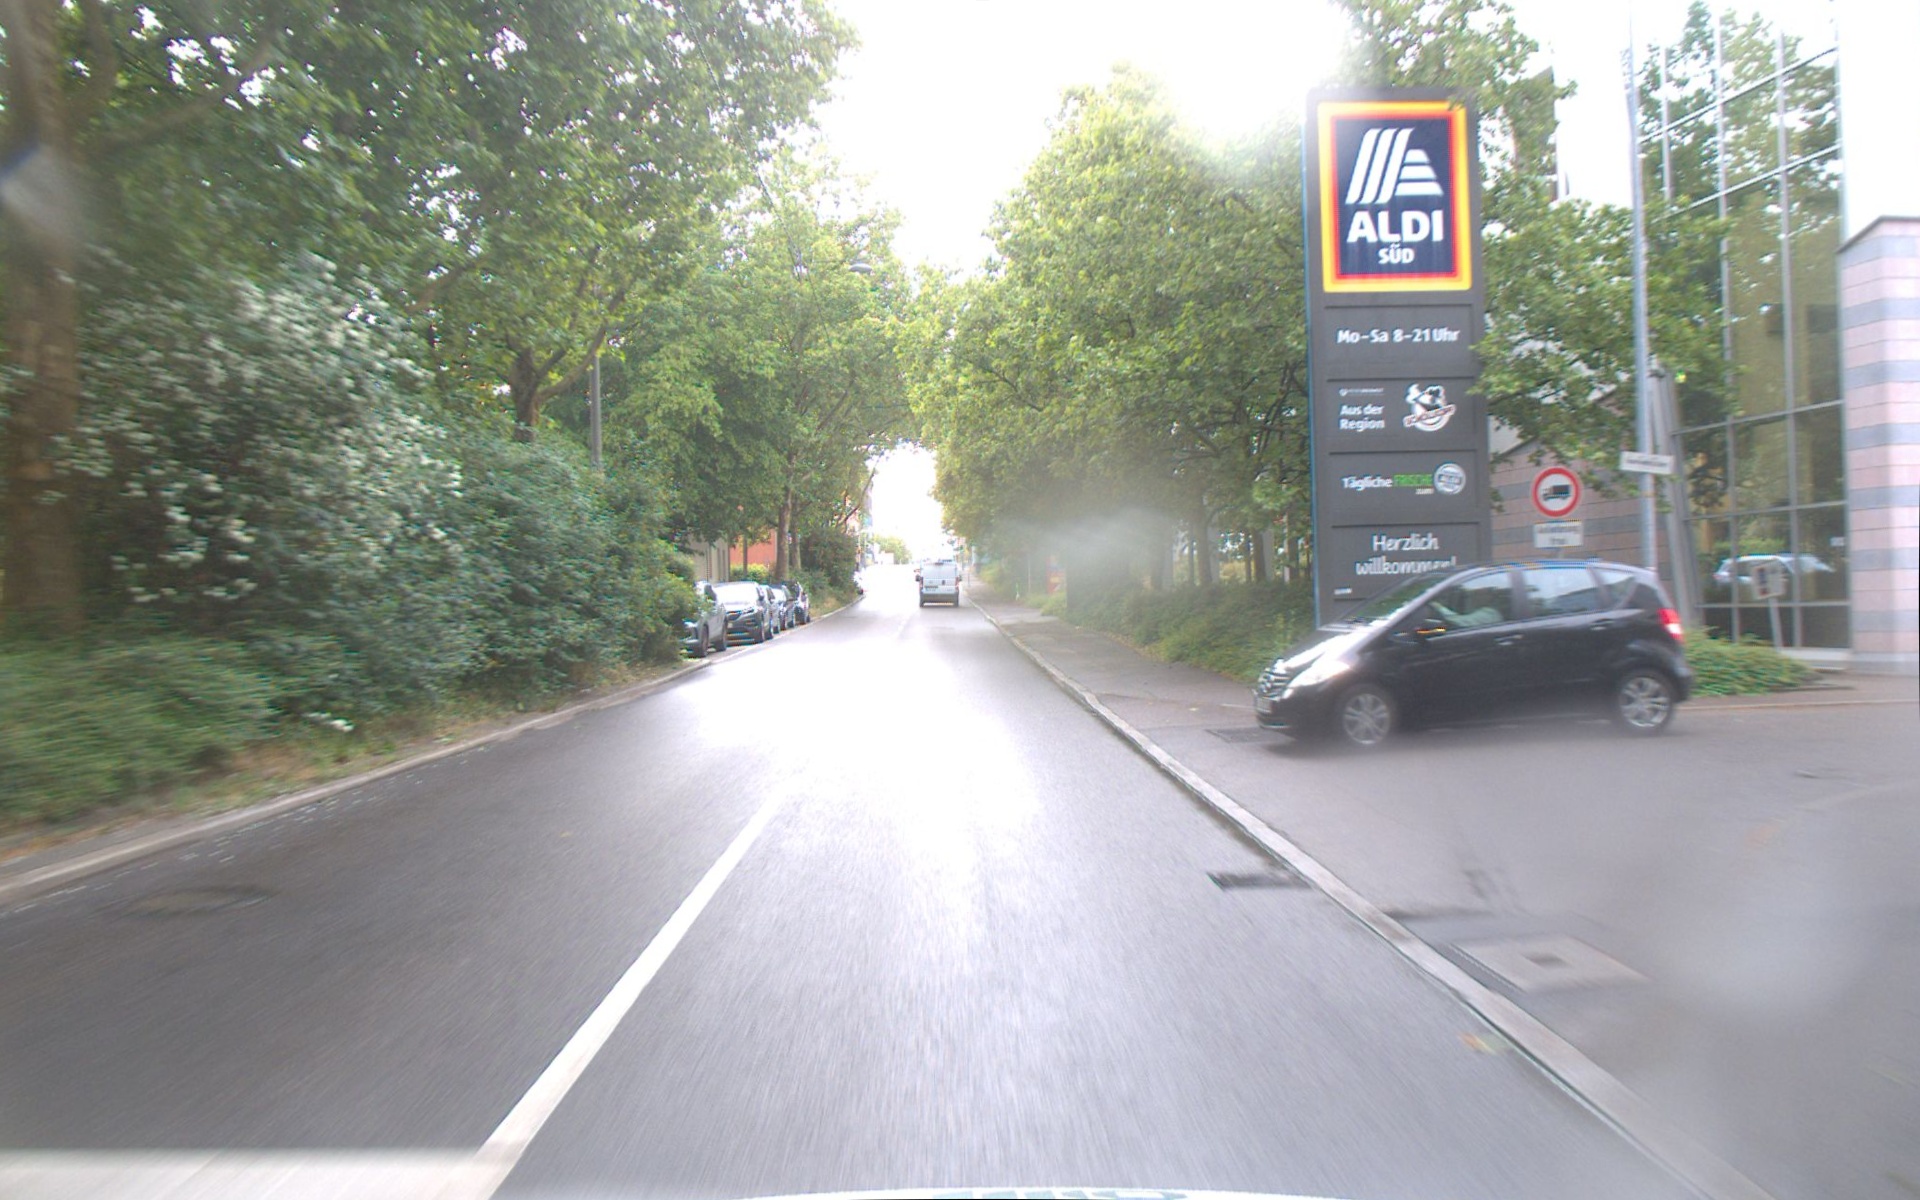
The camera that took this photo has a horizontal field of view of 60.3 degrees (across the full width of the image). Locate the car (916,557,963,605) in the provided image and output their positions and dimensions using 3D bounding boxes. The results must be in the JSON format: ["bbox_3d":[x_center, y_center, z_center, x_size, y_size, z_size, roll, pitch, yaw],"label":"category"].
[{"bbox_3d":[-1.023,-0.939,84.386,2.288,2.270,4.000,-2,0,0],"label":"car"}]

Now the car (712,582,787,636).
[{"bbox_3d":[-6.214,0.244,49.172,1.637,1.534,4.124,0,1,1],"label":"car"}]

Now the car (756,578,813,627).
[{"bbox_3d":[-6.290,0.071,59.611,1.615,1.564,4.017,-5,1,-1],"label":"car"}]

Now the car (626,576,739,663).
[{"bbox_3d":[-6.312,0.392,38.099,1.699,1.686,4.564,-5,1,0],"label":"car"}]

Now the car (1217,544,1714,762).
[{"bbox_3d":[4.482,0.431,15.039,3.776,1.574,2.023,-4,1,-7],"label":"car"}]

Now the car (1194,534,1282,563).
[{"bbox_3d":[13.740,-2.529,81.902,4.017,1.400,1.903,0,1,-1],"label":"car"}]

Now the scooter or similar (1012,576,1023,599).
[{"bbox_3d":[2.943,-0.625,84.706,0.417,1.162,1.528,1,-1,-3],"label":"scooter or similar"}]

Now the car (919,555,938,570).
[{"bbox_3d":[-4.005,-4.704,209.758,2.114,1.739,3.874,1,-1,3],"label":"car"}]

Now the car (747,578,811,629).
[{"bbox_3d":[-5.852,0.091,53.789,1.638,1.534,3.874,2,1,0],"label":"car"}]

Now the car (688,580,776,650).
[{"bbox_3d":[-5.963,0.351,43.654,1.827,1.618,4.237,-3,1,-2],"label":"car"}]

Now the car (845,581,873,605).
[{"bbox_3d":[-6.986,-0.464,114.456,1.656,1.569,4.117,-2,0,-1],"label":"car"}]
